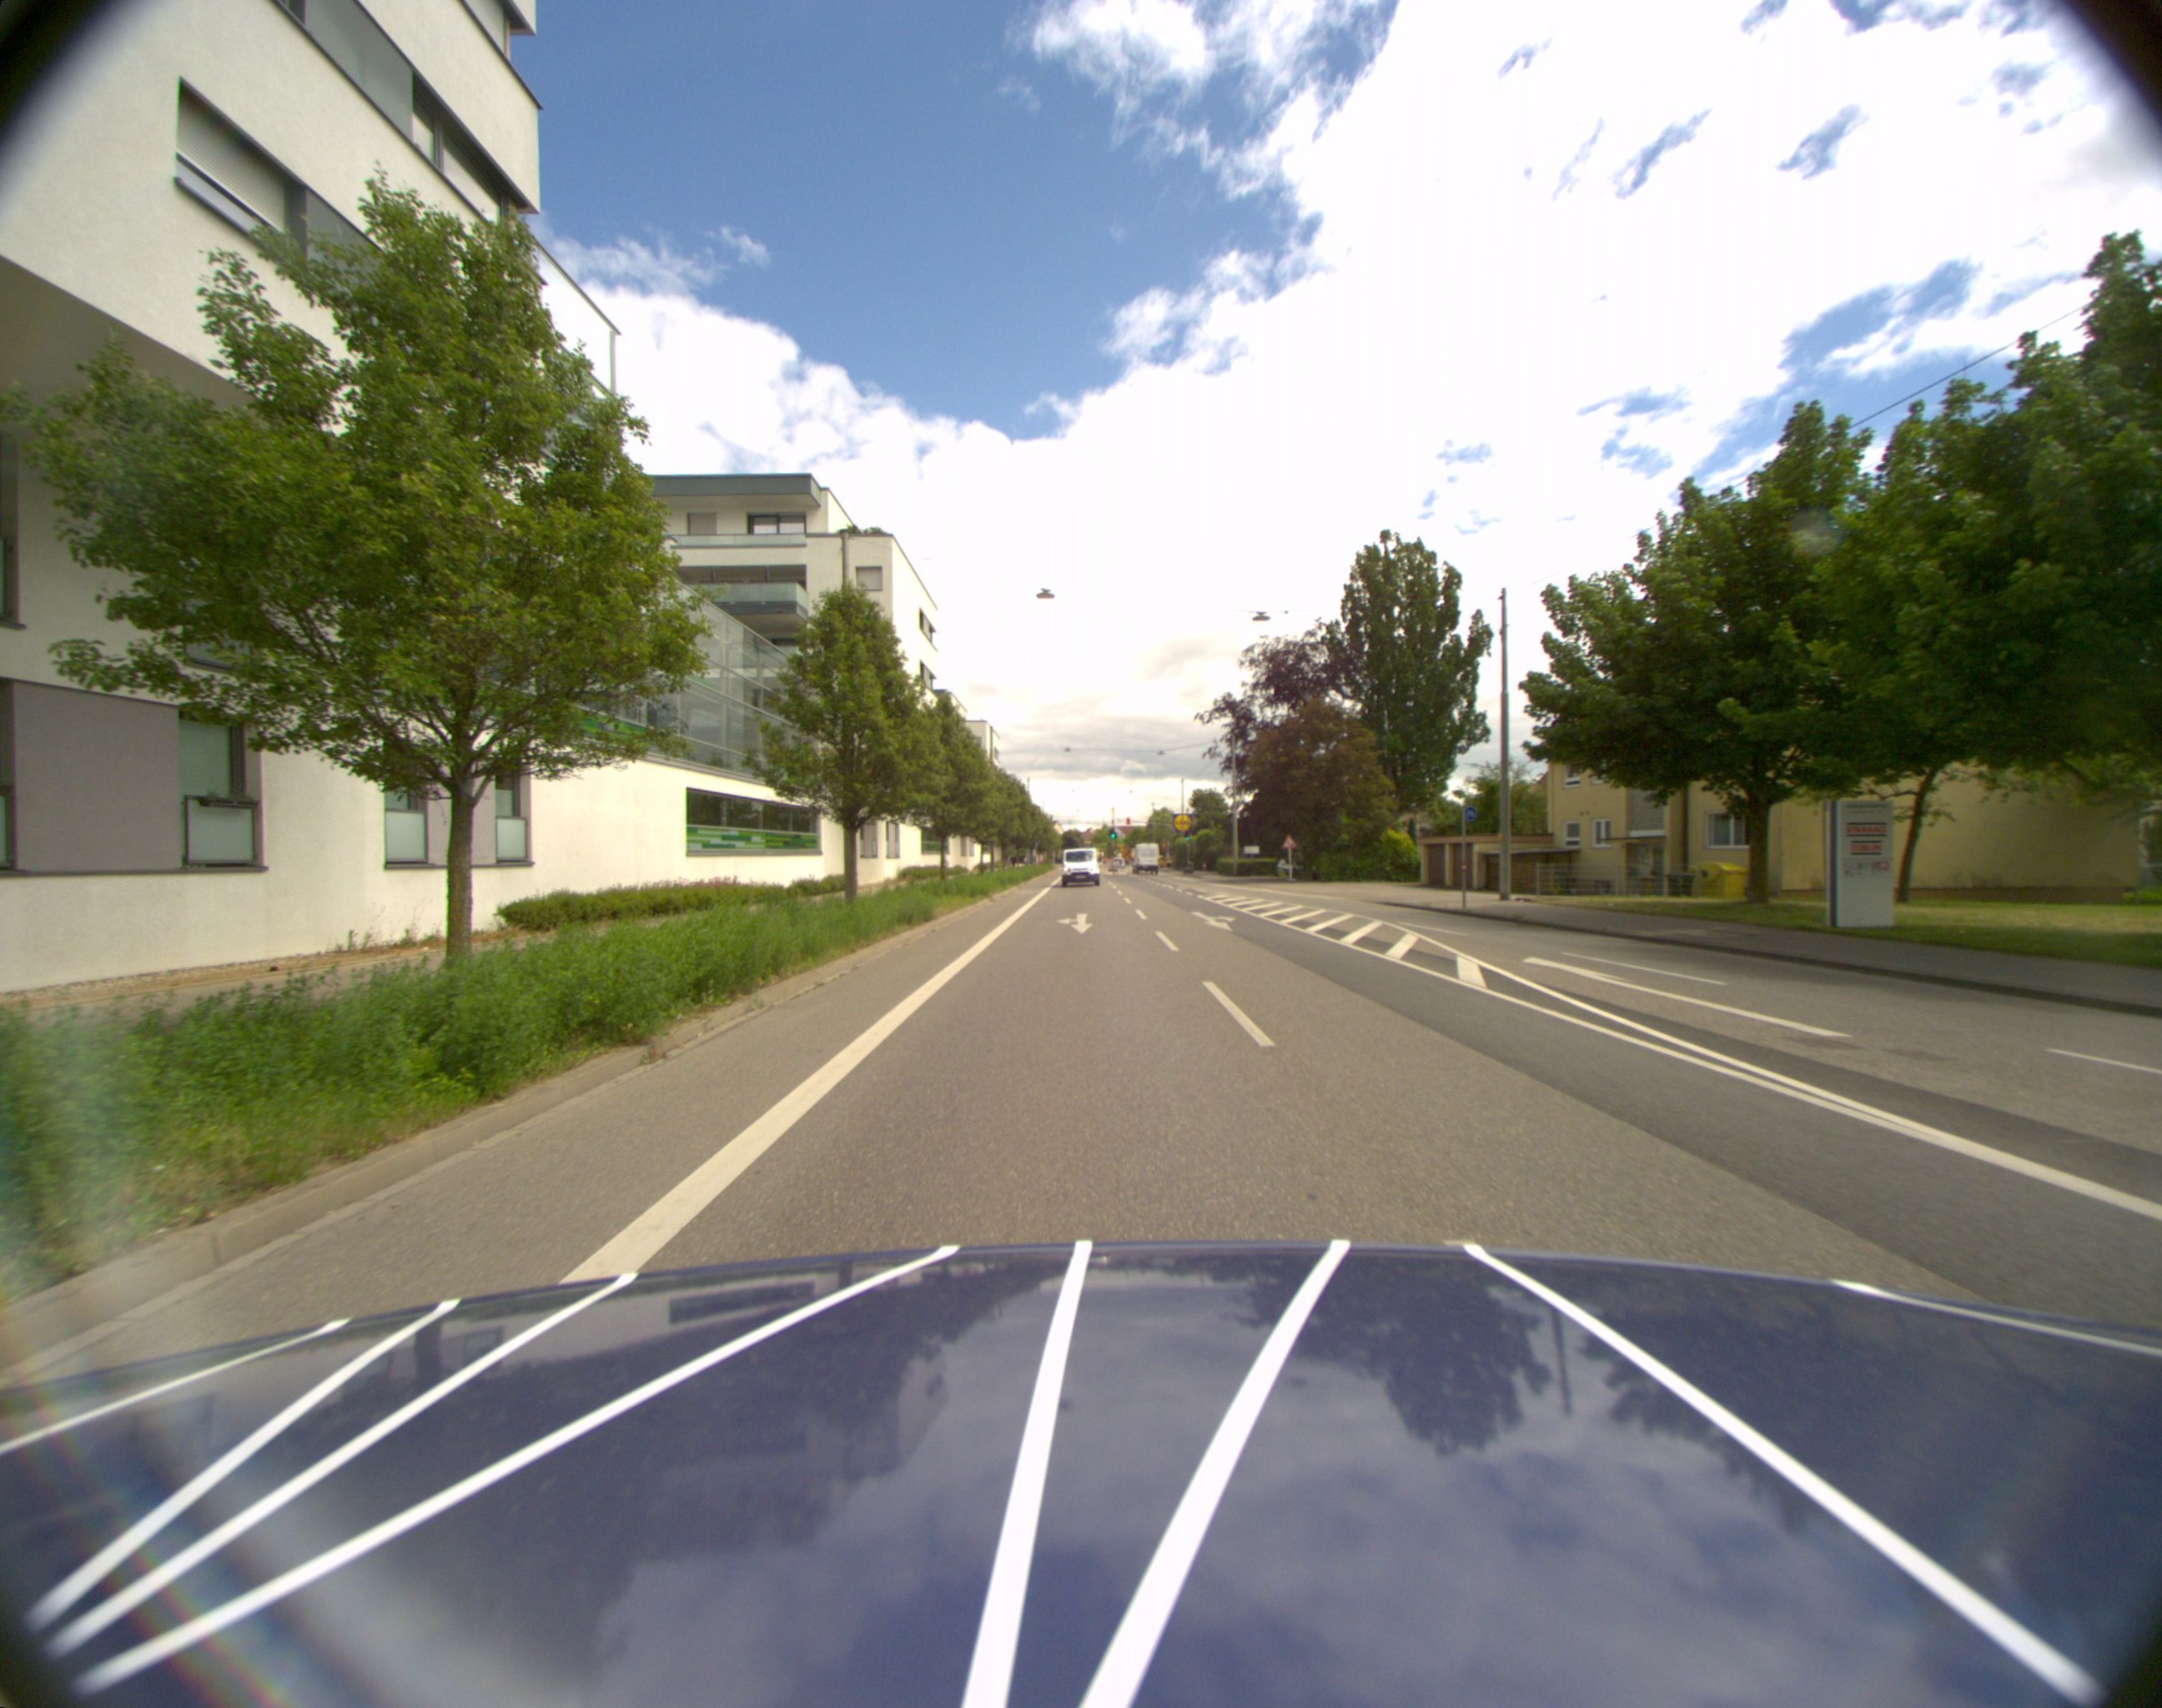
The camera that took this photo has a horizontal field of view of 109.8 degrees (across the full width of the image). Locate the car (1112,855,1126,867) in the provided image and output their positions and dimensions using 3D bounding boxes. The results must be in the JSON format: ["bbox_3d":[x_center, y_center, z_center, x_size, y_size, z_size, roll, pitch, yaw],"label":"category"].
[{"bbox_3d":[5.229,0.936,105.344,1.611,1.510,3.239,2,1,-1],"label":"car"}]

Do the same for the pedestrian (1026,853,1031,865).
[{"bbox_3d":[-7.212,0.681,104.696,0.559,1.649,0.607,-3,1,0],"label":"pedestrian"}]

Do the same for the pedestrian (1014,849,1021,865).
[{"bbox_3d":[-7.982,0.360,95.380,0.742,1.875,0.701,-3,1,-3],"label":"pedestrian"}]

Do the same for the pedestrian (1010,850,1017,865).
[{"bbox_3d":[-8.555,0.407,95.716,0.621,1.830,0.588,-4,2,-27],"label":"pedestrian"}]

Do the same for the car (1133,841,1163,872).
[{"bbox_3d":[6.223,0.217,71.498,2.149,2.803,6.147,1,0,-1],"label":"car"}]

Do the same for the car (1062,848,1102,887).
[{"bbox_3d":[0.060,0.682,40.685,1.999,1.905,3.999,-2,1,0],"label":"car"}]

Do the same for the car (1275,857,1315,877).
[{"bbox_3d":[16.035,0.933,57.181,1.666,1.380,3.521,2,1,-6],"label":"car"}]

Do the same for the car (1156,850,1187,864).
[{"bbox_3d":[12.735,0.447,106.543,4.007,1.774,1.995,-4,1,-38],"label":"car"}]
